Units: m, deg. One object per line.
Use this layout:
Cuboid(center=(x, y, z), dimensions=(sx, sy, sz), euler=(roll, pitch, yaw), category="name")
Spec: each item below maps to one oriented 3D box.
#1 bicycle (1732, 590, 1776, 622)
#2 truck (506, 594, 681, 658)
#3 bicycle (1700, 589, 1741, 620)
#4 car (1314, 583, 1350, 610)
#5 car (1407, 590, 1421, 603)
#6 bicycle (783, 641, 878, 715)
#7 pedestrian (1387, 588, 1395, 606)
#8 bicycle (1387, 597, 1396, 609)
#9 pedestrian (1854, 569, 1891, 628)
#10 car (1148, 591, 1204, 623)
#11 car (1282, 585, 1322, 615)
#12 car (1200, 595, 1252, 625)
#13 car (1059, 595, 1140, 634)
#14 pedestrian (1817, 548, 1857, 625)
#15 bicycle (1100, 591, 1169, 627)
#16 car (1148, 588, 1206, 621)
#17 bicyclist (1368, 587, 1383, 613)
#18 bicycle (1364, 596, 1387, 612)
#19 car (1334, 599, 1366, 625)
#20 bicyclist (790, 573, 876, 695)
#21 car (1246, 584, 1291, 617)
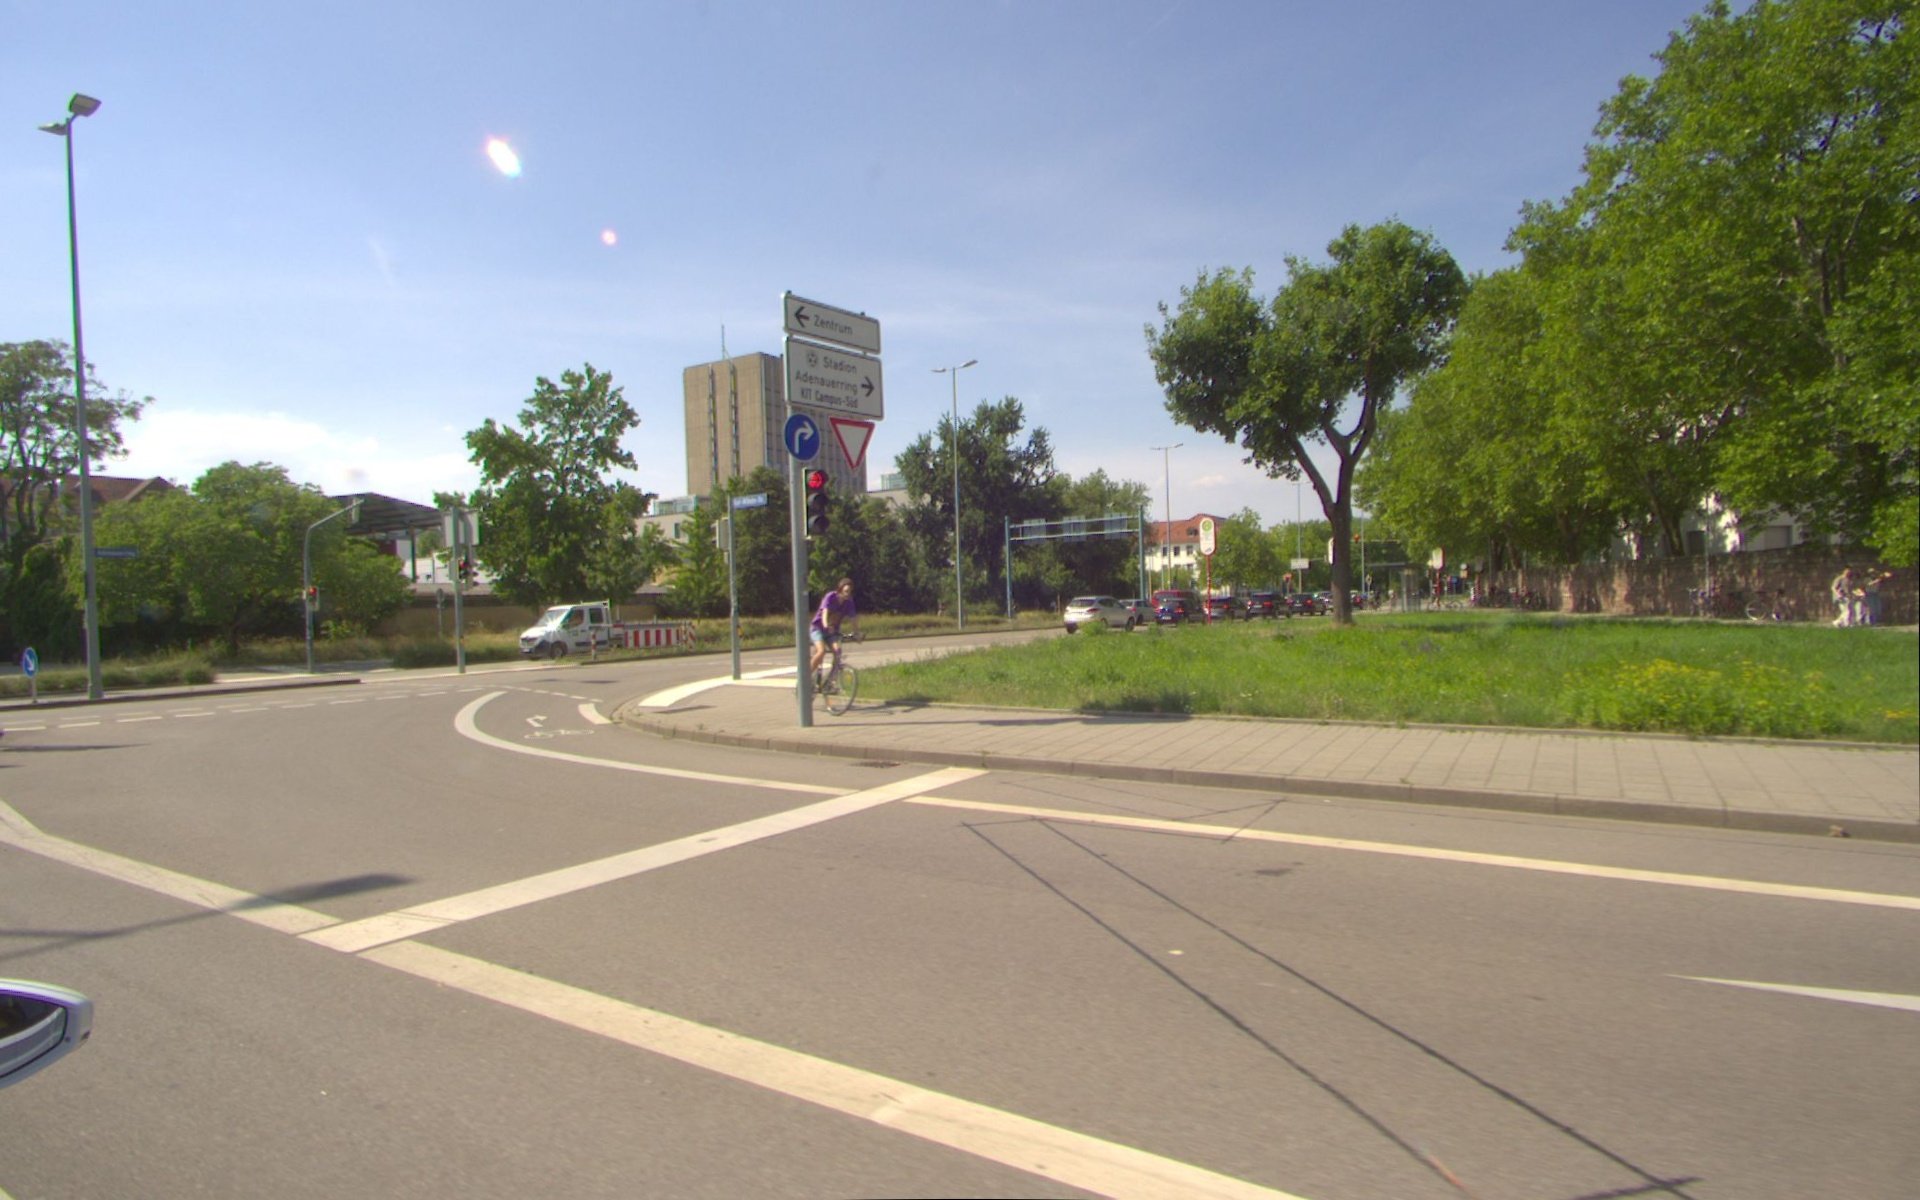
Cuboid(center=(26.641, 0.182, 33.605), dimensions=(0.439, 1.047, 1.447), euler=(-1, 1, 6), category="bicycle")
Cuboid(center=(-15.628, 1.057, 43.194), dimensions=(2.380, 2.386, 7.007), euler=(-3, -1, 33), category="truck")
Cuboid(center=(26.759, 0.151, 35.254), dimensions=(0.439, 1.047, 1.447), euler=(-1, 1, 6), category="bicycle")
Cuboid(center=(29.459, -0.303, 79.290), dimensions=(1.971, 2.040, 3.980), euler=(-1, 1, 30), category="car")
Cuboid(center=(75.286, -0.610, 166.012), dimensions=(1.968, 2.039, 3.987), euler=(-1, -2, 26), category="car")
Cuboid(center=(-1.844, 1.055, 14.045), dimensions=(0.675, 0.899, 1.924), euler=(-2, 0, -28), category="bicycle")
Cuboid(center=(36.908, -0.271, 85.770), dimensions=(0.552, 1.458, 0.729), euler=(-1, 1, 30), category="pedestrian")
Cuboid(center=(36.952, 0.258, 85.826), dimensions=(0.552, 1.066, 1.318), euler=(-1, 1, 30), category="bicycle")
Cuboid(center=(25.427, -0.033, 27.909), dimensions=(0.515, 1.599, 0.701), euler=(-2, 1, 23), category="pedestrian")
Cuboid(center=(13.300, 0.409, 61.387), dimensions=(1.950, 1.821, 4.587), euler=(-1, 1, 31), category="car")
Cuboid(center=(24.638, 0.014, 72.137), dimensions=(1.971, 2.040, 3.980), euler=(-1, 1, 30), category="car")
Cuboid(center=(15.749, 0.584, 59.199), dimensions=(1.564, 1.612, 3.972), euler=(-1, 1, 37), category="car")
Cuboid(center=(6.416, 0.650, 45.750), dimensions=(1.691, 1.640, 4.183), euler=(-1, 1, 40), category="car")
Cuboid(center=(23.627, -0.364, 26.974), dimensions=(0.513, 2.040, 0.596), euler=(-2, 1, -9), category="pedestrian")
Cuboid(center=(9.747, 0.471, 55.784), dimensions=(1.978, 1.839, 3.966), euler=(-2, 0, 41), category="bicycle")
Cuboid(center=(11.524, 0.203, 53.021), dimensions=(1.564, 1.612, 3.973), euler=(-1, 1, 36), category="car")
Cuboid(center=(33.541, -0.024, 80.842), dimensions=(0.769, 2.039, 1.265), euler=(-2, -2, 38), category="bicyclist")
Cuboid(center=(33.581, 0.348, 80.861), dimensions=(0.838, 1.233, 3.462), euler=(-2, -2, 37), category="bicycle")
Cuboid(center=(33.094, 1.050, 84.831), dimensions=(1.970, 2.039, 3.984), euler=(-1, -2, 29), category="car")
Cuboid(center=(-1.788, 0.471, 14.052), dimensions=(1.068, 1.659, 0.486), euler=(-1, 1, 29), category="bicyclist")
Cuboid(center=(20.017, 0.015, 64.886), dimensions=(1.971, 2.040, 3.980), euler=(-1, 1, 30), category="car")
